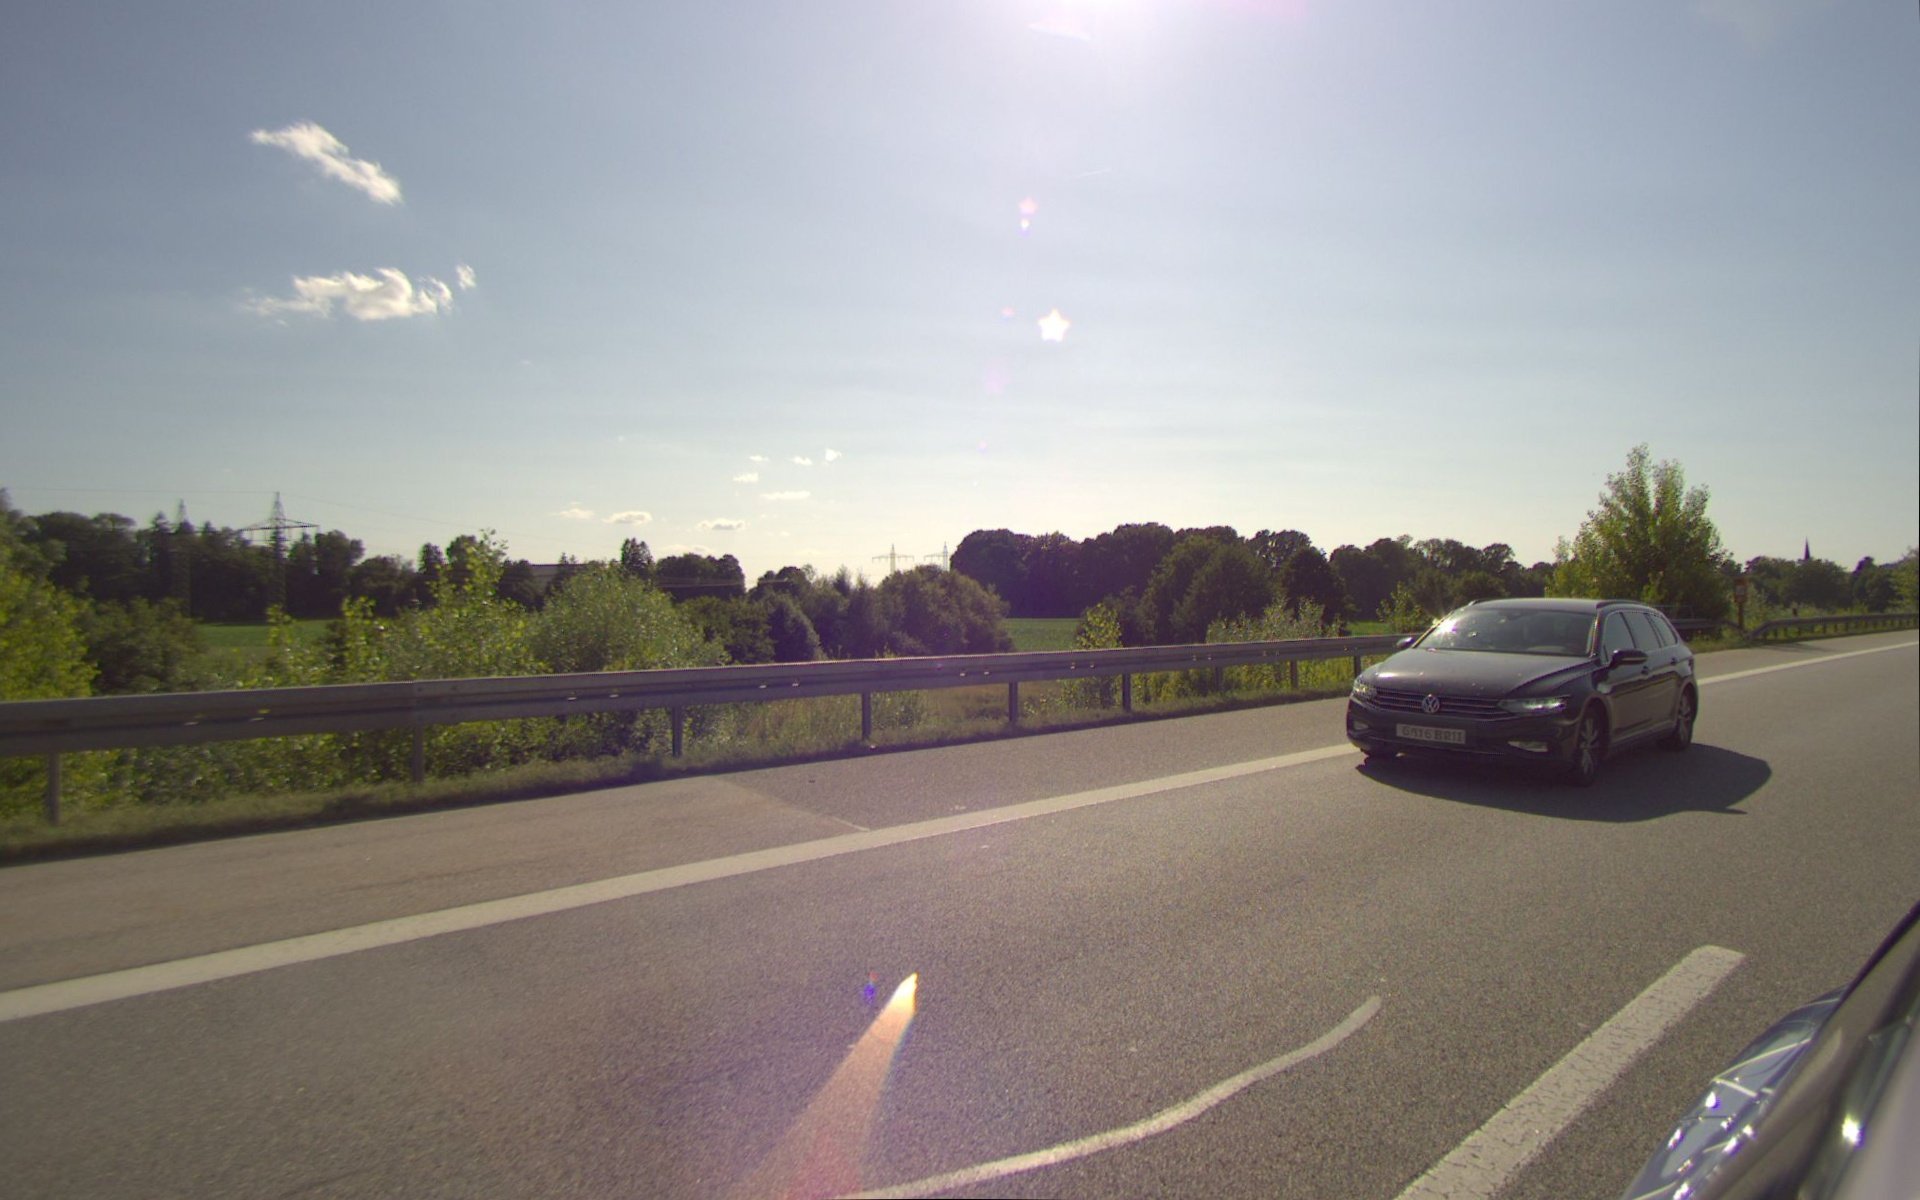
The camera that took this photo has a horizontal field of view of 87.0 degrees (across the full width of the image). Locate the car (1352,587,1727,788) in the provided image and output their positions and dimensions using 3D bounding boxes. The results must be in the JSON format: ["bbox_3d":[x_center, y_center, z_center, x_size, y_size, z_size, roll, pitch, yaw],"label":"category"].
[{"bbox_3d":[5.499,0.602,9.352,4.337,1.417,1.721,-1,1,-41],"label":"car"}]
